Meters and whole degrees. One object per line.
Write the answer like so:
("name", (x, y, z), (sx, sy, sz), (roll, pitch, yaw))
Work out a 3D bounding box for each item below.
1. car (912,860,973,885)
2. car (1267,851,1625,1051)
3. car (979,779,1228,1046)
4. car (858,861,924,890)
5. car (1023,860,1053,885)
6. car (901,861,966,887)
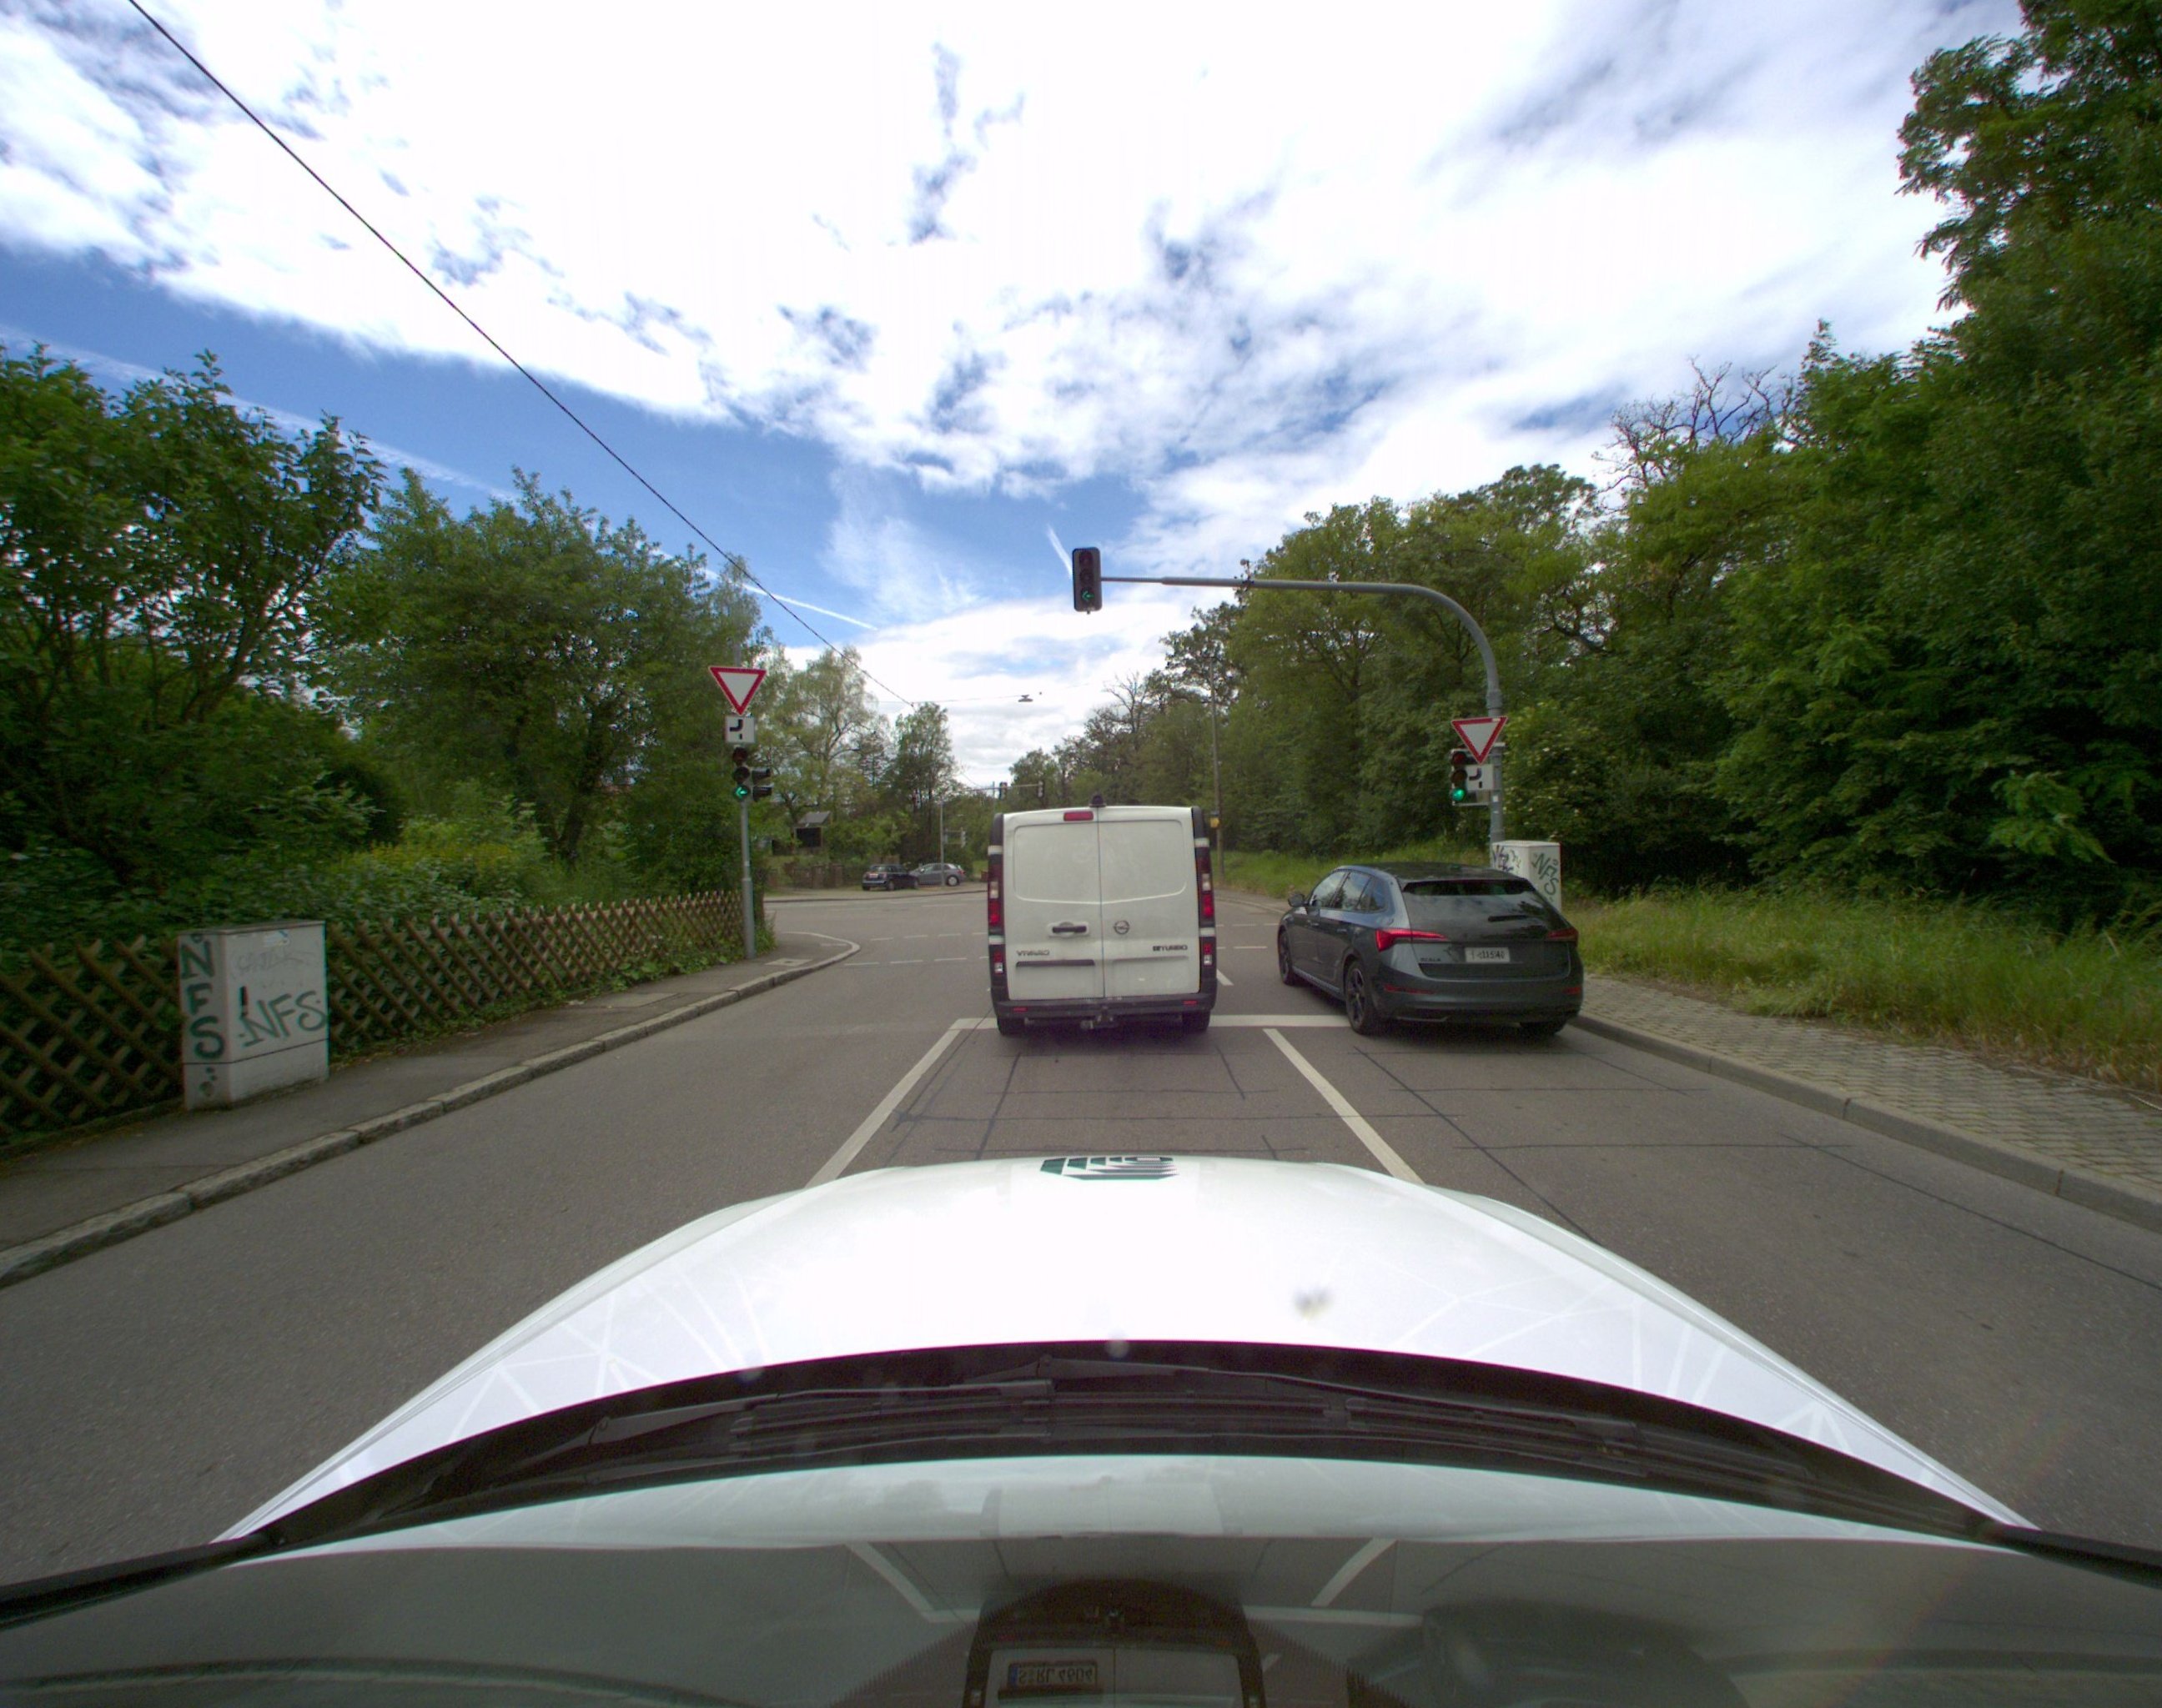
("car", (-9.740, 1.279, 57.220), (4.094, 1.553, 1.845), (-1, 0, -16))
("car", (3.193, 0.727, 8.097), (1.786, 1.450, 4.000), (-1, 0, 1))
("car", (0.174, 0.455, 8.573), (1.910, 2.053, 4.613), (0, 0, 0))
("car", (-10.184, 1.135, 43.911), (1.683, 1.449, 3.562), (1, 0, 22))
("car", (-2.834, 1.180, 53.839), (1.852, 1.507, 3.996), (-1, 0, -2))
("car", (-9.826, 1.290, 54.154), (4.094, 1.553, 1.845), (-1, 0, -16))
